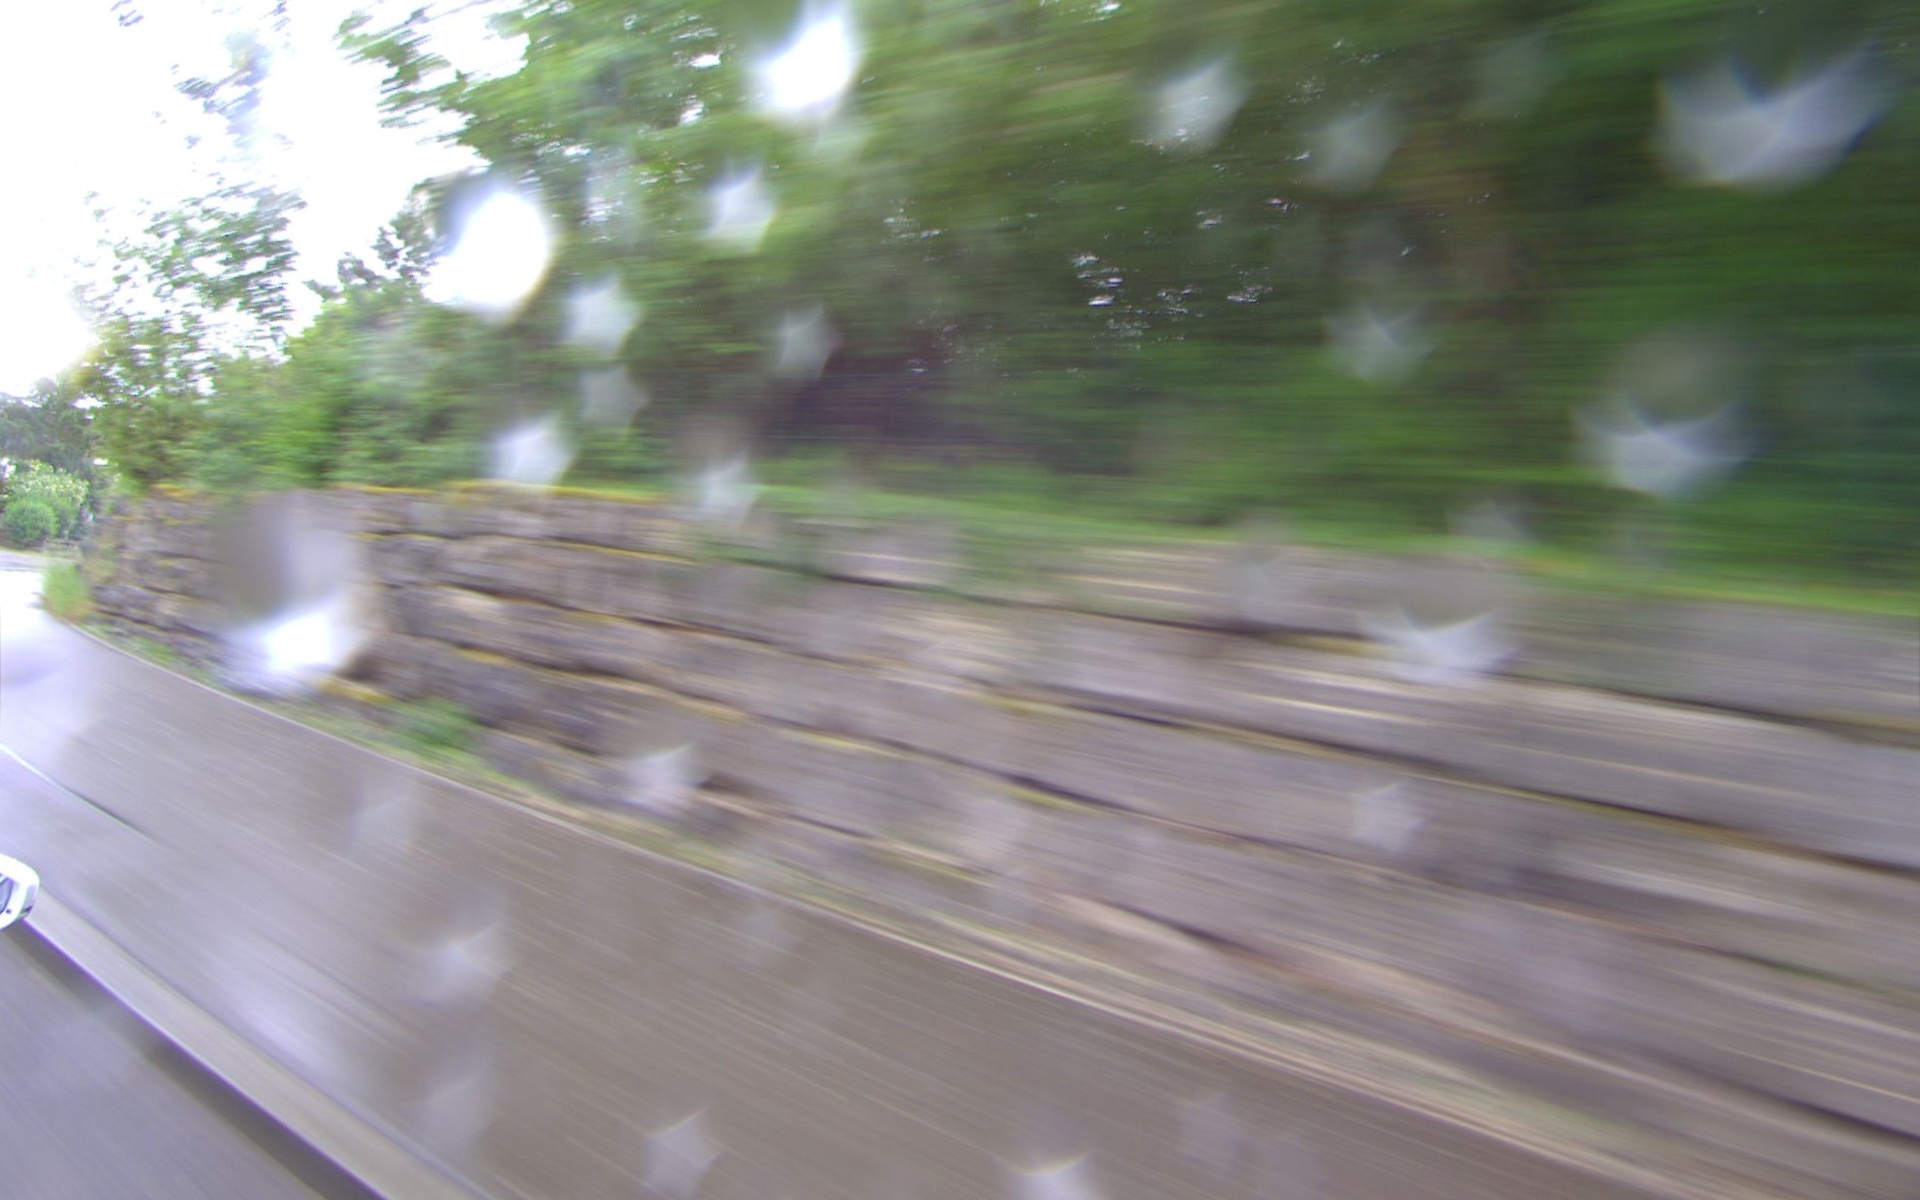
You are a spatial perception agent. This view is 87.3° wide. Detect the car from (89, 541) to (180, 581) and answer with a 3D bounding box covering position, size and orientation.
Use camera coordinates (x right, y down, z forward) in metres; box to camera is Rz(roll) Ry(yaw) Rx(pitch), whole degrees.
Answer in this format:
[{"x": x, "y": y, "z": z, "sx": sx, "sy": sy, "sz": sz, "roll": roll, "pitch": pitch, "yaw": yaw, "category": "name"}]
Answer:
[{"x": -40.269, "y": -1.861, "z": 49.184, "sx": 1.757, "sy": 1.435, "sz": 4.156, "roll": 9, "pitch": -4, "yaw": -16, "category": "car"}]
